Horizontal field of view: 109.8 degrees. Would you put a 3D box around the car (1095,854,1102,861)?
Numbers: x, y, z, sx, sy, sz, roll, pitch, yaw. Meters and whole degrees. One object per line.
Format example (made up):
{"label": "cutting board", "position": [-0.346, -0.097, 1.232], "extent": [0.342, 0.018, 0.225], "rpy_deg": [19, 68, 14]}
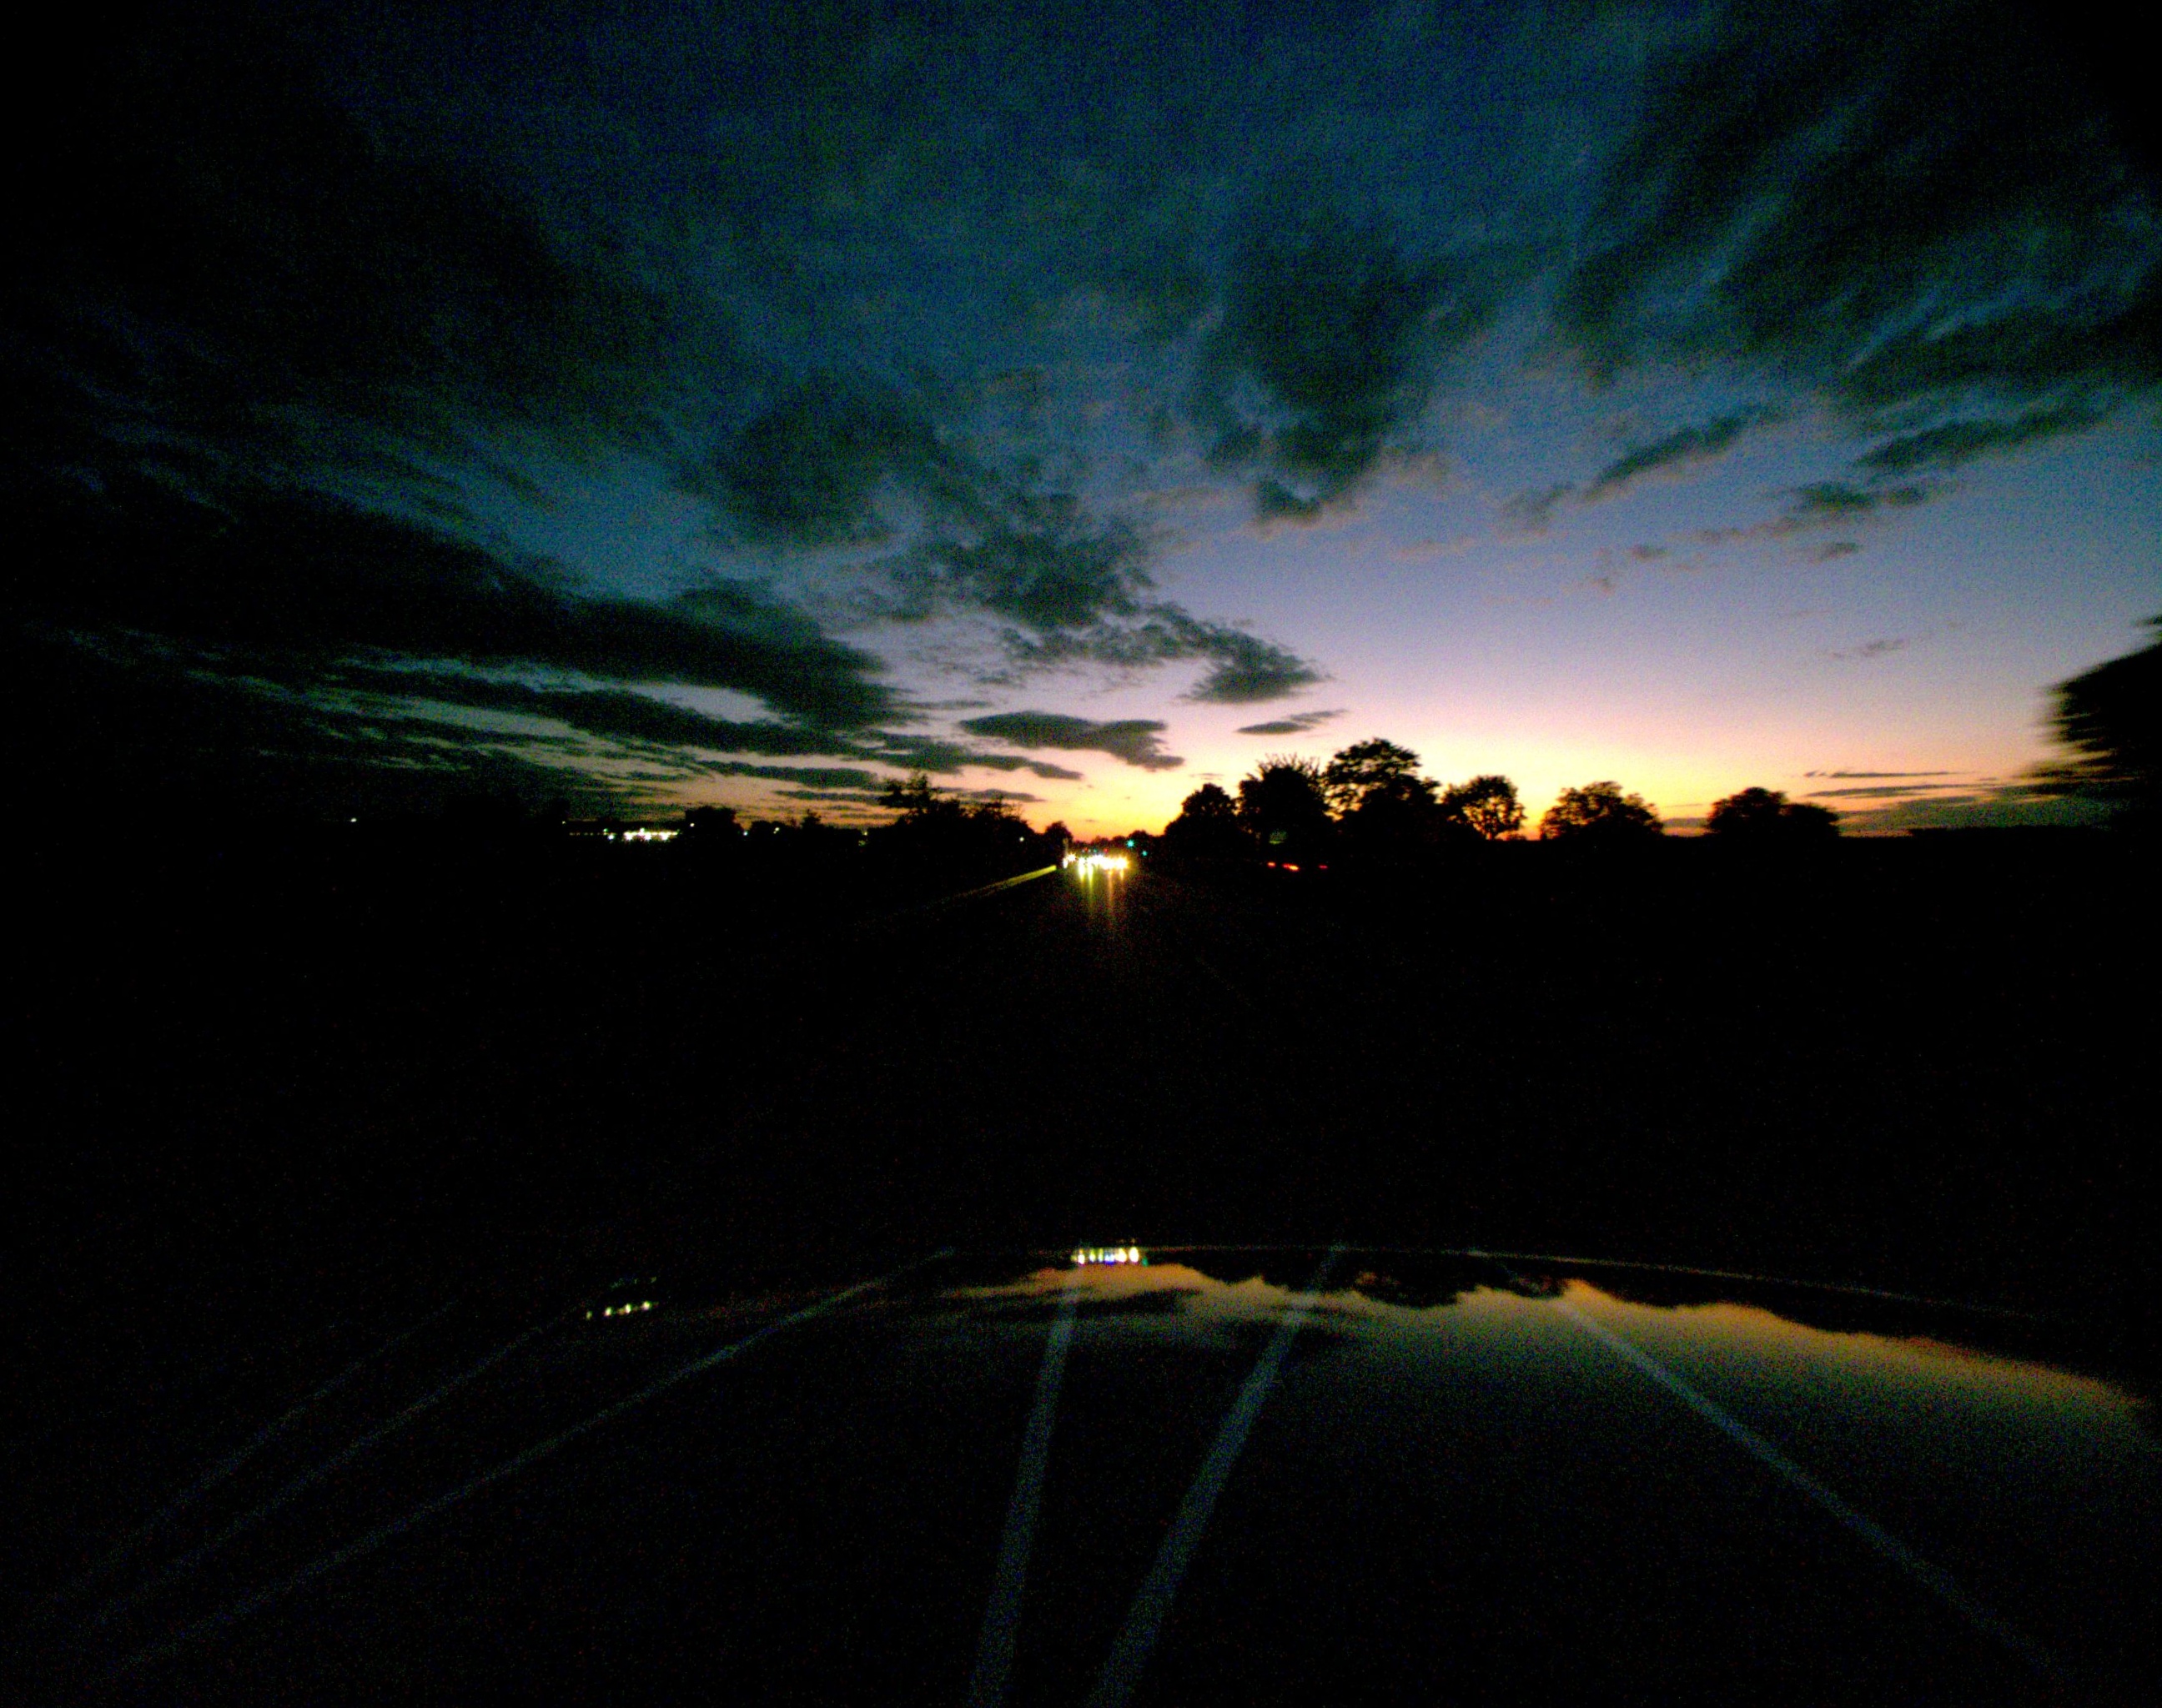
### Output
{"label": "car", "position": [5.459, 1.010, 236.003], "extent": [1.998, 2.002, 4.000], "rpy_deg": [-2, 1, 2]}

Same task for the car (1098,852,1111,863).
{"label": "car", "position": [3.936, 0.555, 126.499], "extent": [1.998, 1.778, 4.000], "rpy_deg": [-2, 0, 1]}

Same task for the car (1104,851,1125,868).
{"label": "car", "position": [3.432, 0.573, 78.230], "extent": [1.998, 1.635, 4.296], "rpy_deg": [-2, 0, 0]}

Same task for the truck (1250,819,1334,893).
{"label": "truck", "position": [16.726, 0.064, 61.513], "extent": [3.210, 5.225, 12.607], "rpy_deg": [-2, 1, 0]}

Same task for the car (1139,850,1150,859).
{"label": "car", "position": [15.026, 0.171, 180.188], "extent": [1.970, 2.087, 5.347], "rpy_deg": [-2, 0, 0]}

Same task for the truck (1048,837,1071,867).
{"label": "truck", "position": [-2.741, -0.296, 99.028], "extent": [2.490, 3.778, 5.498], "rpy_deg": [-2, 1, 2]}

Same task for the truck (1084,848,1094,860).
{"label": "truck", "position": [2.542, 0.089, 243.521], "extent": [3.016, 3.674, 9.057], "rpy_deg": [-2, 0, 0]}

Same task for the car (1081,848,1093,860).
{"label": "car", "position": [0.977, -0.003, 125.004], "extent": [1.741, 2.002, 4.000], "rpy_deg": [-2, 0, 0]}
